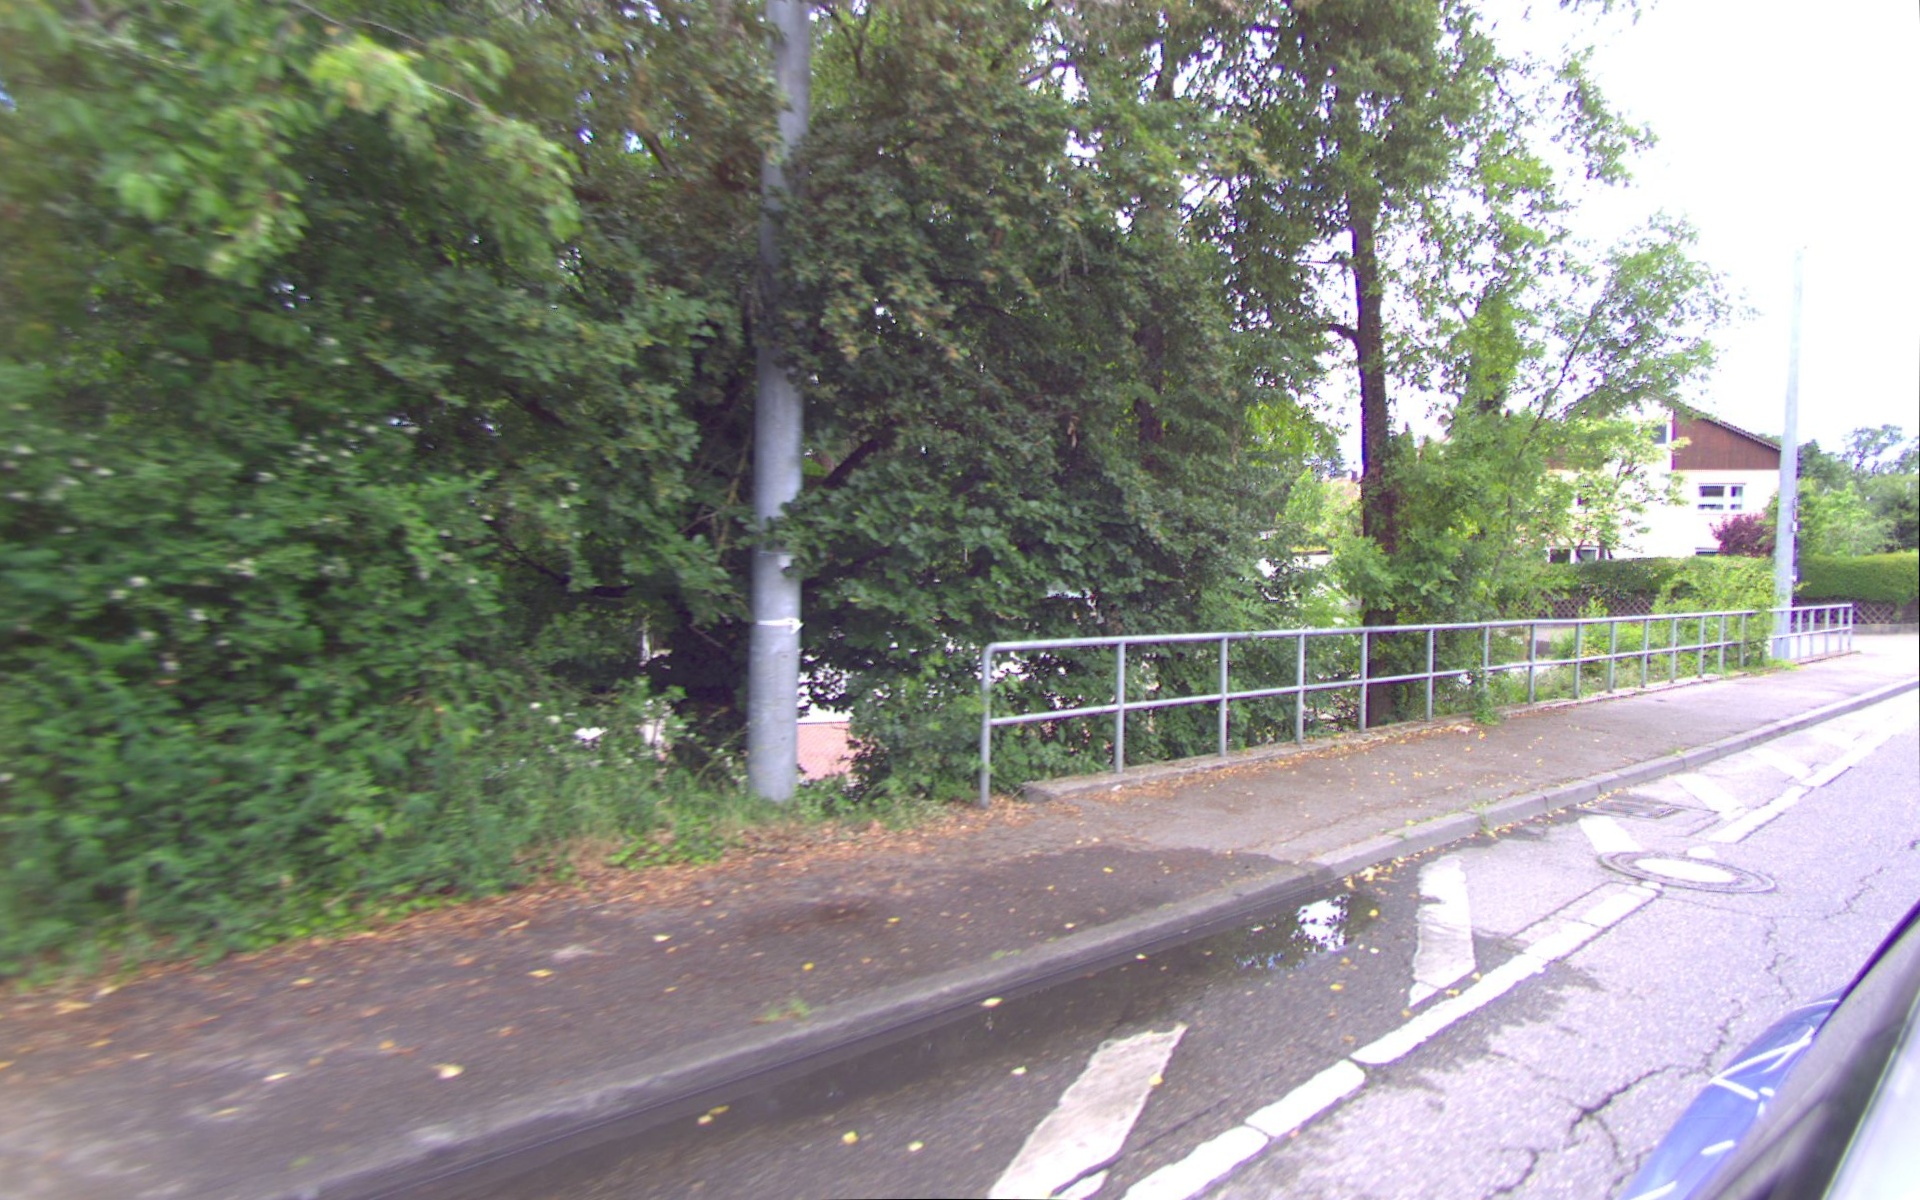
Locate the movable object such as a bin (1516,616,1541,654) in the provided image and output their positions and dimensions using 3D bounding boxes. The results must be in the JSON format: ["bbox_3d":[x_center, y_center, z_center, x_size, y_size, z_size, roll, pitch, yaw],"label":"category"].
[{"bbox_3d":[15.527,0.957,27.644,0.534,0.986,0.505,-1,4,23],"label":"movable object such as a bin"}]
